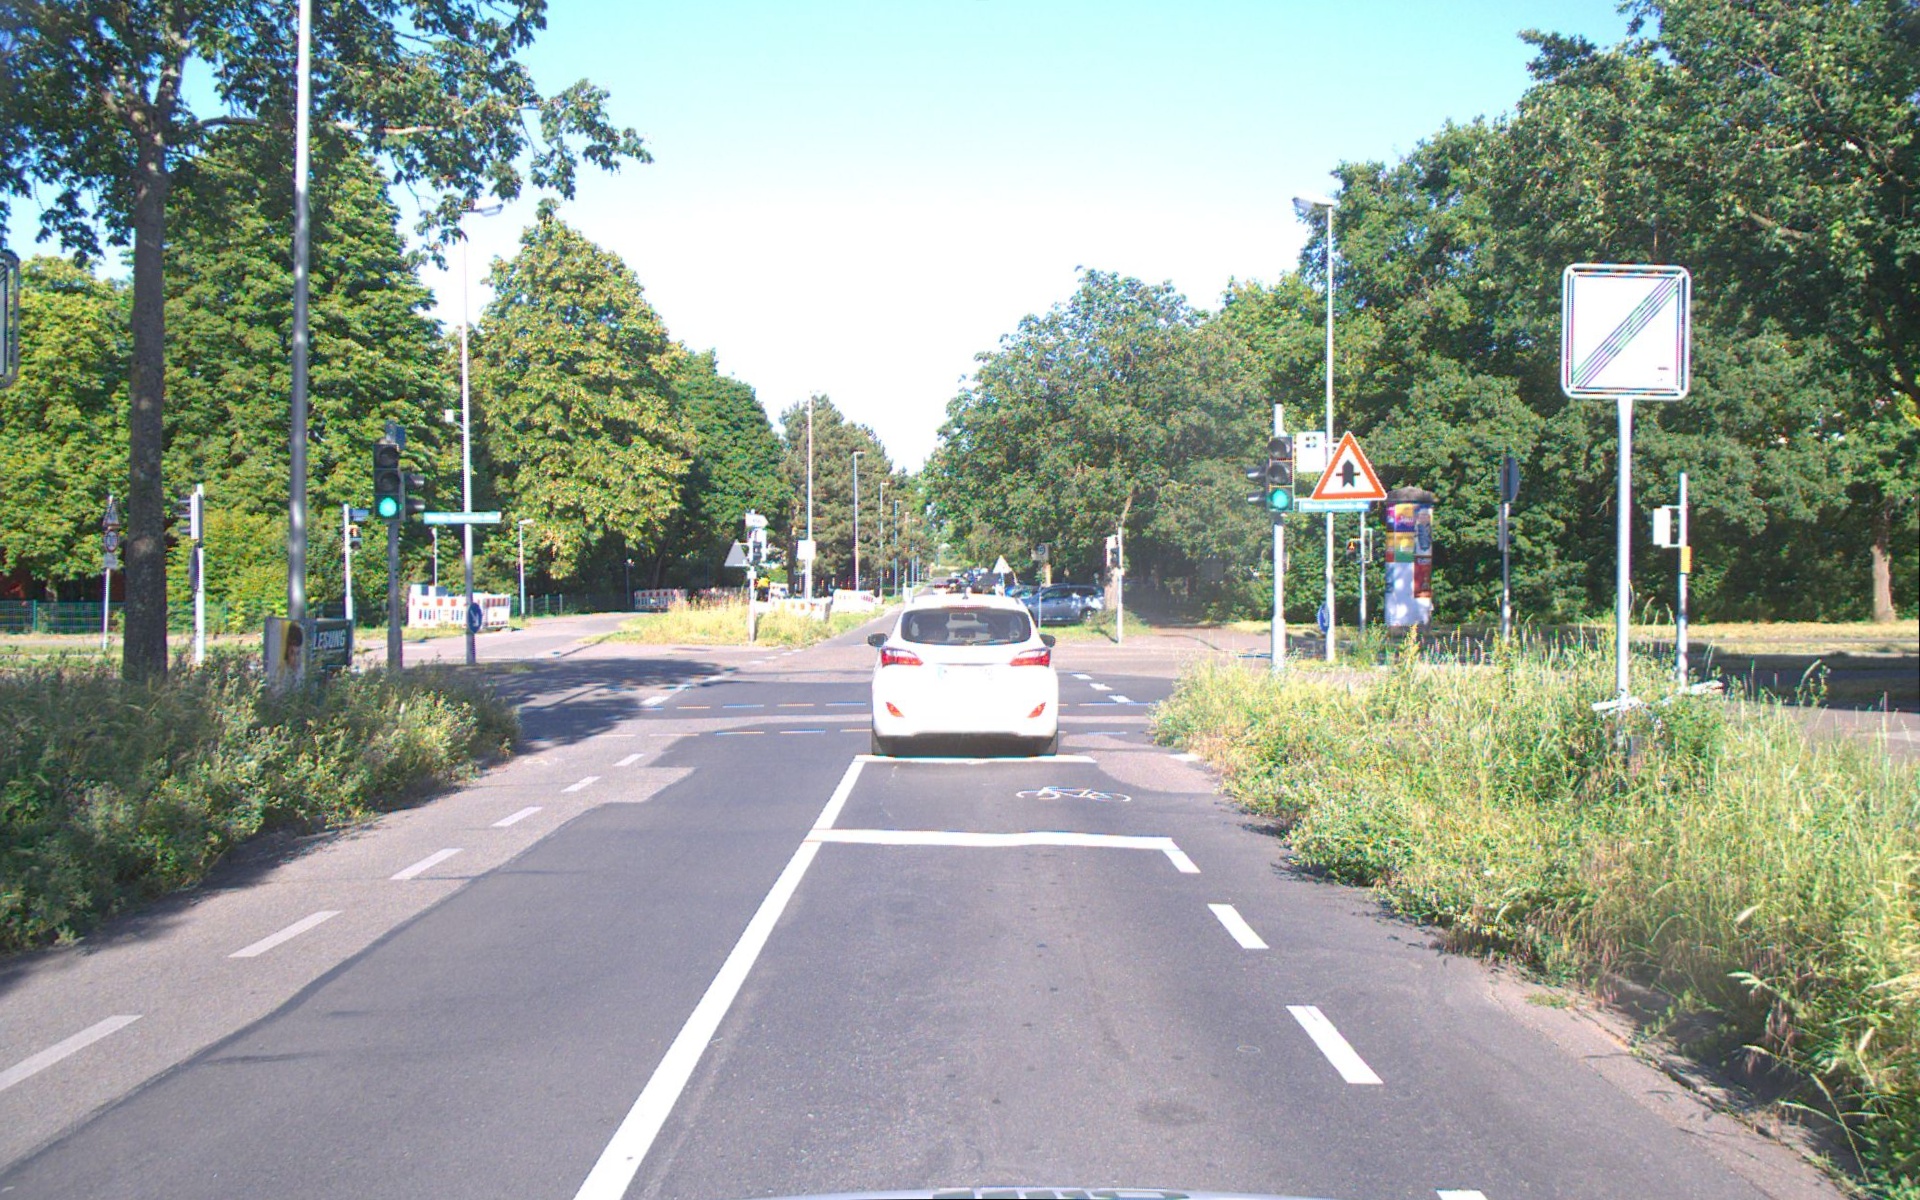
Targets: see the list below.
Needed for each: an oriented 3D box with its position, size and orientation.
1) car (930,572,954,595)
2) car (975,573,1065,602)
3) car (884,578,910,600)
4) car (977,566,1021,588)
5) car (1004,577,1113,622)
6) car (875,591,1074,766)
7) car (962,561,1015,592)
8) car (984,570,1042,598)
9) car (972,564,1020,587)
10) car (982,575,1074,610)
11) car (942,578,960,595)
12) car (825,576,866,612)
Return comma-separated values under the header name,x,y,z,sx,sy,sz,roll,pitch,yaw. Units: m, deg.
name,x,y,z,sx,sy,sz,roll,pitch,yaw
car,-1.550,-1.401,141.951,1.953,1.847,4.000,2,1,0
car,3.729,-0.783,102.943,5.499,1.713,1.948,1,0,0
car,-5.195,-0.924,136.458,1.953,1.847,4.000,0,1,0
car,3.388,-1.978,143.718,3.741,1.798,1.863,1,0,0
car,3.995,-0.051,67.556,4.405,1.814,1.855,0,1,2
car,0.051,0.682,16.573,1.753,1.488,3.962,0,1,-2
car,2.033,-1.696,119.539,3.741,2.135,1.863,1,0,0
car,3.492,-1.066,109.514,3.741,1.713,1.863,1,0,0
car,3.154,-2.178,146.864,4.214,1.941,1.863,1,0,0
car,3.269,-0.382,79.620,4.405,1.658,1.855,0,1,2
car,-0.957,-1.483,181.380,1.953,1.847,4.000,1,0,0
car,-6.310,-0.363,91.395,1.953,1.847,4.001,1,2,0
